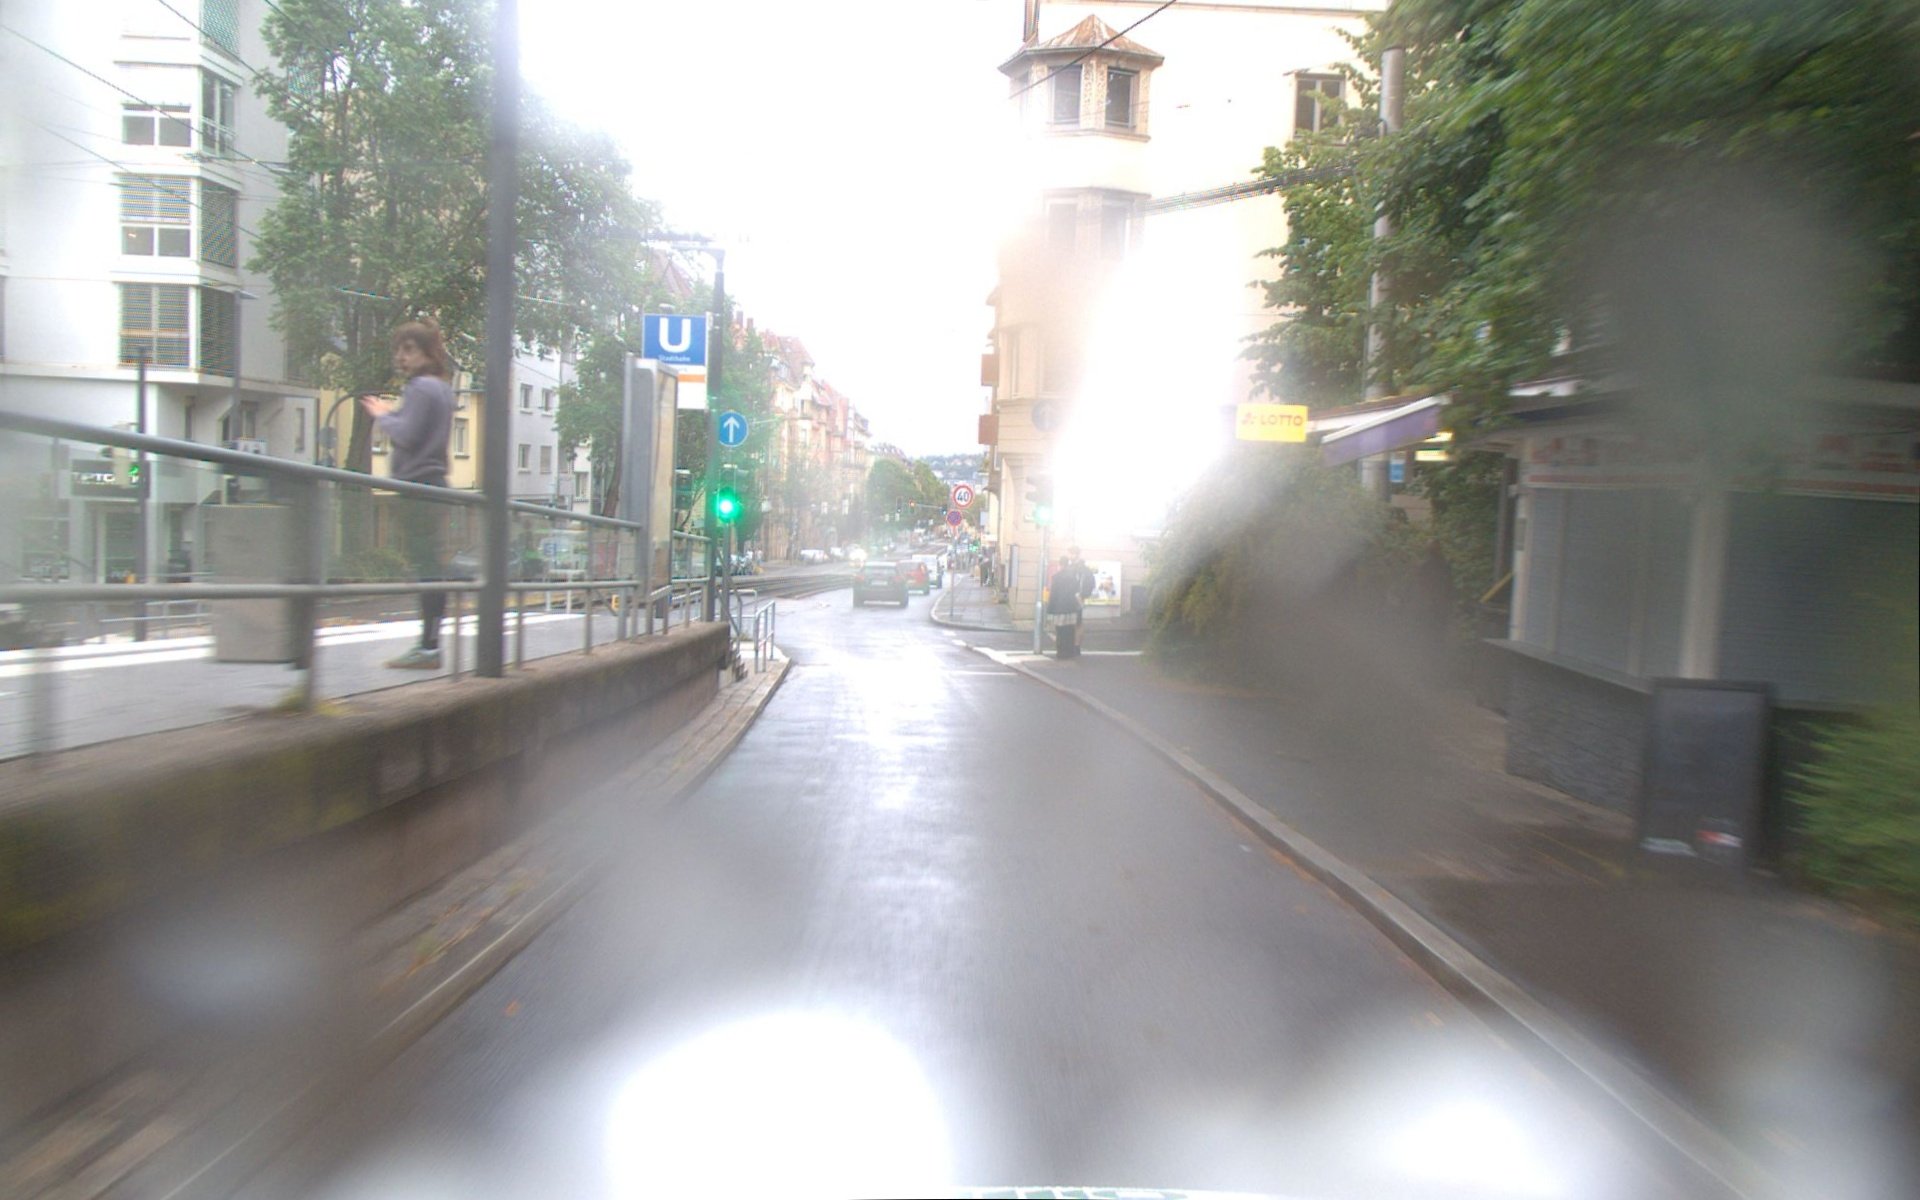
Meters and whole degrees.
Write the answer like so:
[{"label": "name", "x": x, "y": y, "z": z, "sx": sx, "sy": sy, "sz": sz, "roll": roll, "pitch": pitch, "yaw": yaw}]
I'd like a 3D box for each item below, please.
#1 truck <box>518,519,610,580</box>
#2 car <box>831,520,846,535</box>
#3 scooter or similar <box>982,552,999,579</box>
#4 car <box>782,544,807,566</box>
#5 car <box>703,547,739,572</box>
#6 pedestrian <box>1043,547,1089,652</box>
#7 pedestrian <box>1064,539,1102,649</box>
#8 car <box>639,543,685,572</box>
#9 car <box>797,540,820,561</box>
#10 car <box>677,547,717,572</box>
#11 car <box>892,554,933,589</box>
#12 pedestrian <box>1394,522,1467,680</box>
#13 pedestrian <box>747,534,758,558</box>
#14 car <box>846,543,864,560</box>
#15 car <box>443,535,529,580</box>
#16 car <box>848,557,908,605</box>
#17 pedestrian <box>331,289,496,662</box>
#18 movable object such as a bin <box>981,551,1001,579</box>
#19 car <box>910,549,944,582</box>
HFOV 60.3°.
[{"label": "truck", "x": -16.704, "y": -2.108, "z": 70.092, "sx": 2.008, "sy": 2.434, "sz": 6.324, "roll": 1, "pitch": 1, "yaw": 3}, {"label": "car", "x": -18.370, "y": -10.966, "z": 250.323, "sx": 1.953, "sy": 2.048, "sz": 4.000, "roll": 1, "pitch": 2, "yaw": -1}, {"label": "scooter or similar", "x": 1.798, "y": -2.051, "z": 98.237, "sx": 0.900, "sy": 1.632, "sz": 0.862, "roll": 1, "pitch": 1, "yaw": -4}, {"label": "car", "x": -15.770, "y": -4.299, "z": 157.546, "sx": 1.953, "sy": 2.049, "sz": 4.346, "roll": 0, "pitch": 1, "yaw": -1}, {"label": "car", "x": -16.071, "y": -2.729, "z": 111.384, "sx": 1.736, "sy": 1.647, "sz": 4.256, "roll": -1, "pitch": 1, "yaw": 1}, {"label": "pedestrian", "x": 1.782, "y": -0.014, "z": 27.796, "sx": 0.681, "sy": 1.724, "sz": 0.555, "roll": 1, "pitch": 1, "yaw": -2}, {"label": "pedestrian", "x": 2.108, "y": -0.109, "z": 28.428, "sx": 0.542, "sy": 1.844, "sz": 0.650, "roll": 1, "pitch": 1, "yaw": -2}, {"label": "car", "x": -16.430, "y": -2.352, "z": 91.261, "sx": 1.737, "sy": 1.573, "sz": 4.255, "roll": -1, "pitch": 1, "yaw": 0}, {"label": "car", "x": -15.366, "y": -5.014, "z": 167.567, "sx": 1.953, "sy": 2.049, "sz": 4.346, "roll": 0, "pitch": 1, "yaw": -1}, {"label": "car", "x": -16.327, "y": -2.490, "z": 102.699, "sx": 1.736, "sy": 1.514, "sz": 4.256, "roll": -1, "pitch": 1, "yaw": 1}, {"label": "car", "x": -2.207, "y": -1.328, "z": 76.584, "sx": 1.814, "sy": 1.499, "sz": 3.999, "roll": 2, "pitch": 1, "yaw": -2}, {"label": "pedestrian", "x": 5.439, "y": 0.001, "z": 19.127, "sx": 0.590, "sy": 1.775, "sz": 0.614, "roll": 2, "pitch": 1, "yaw": -1}, {"label": "pedestrian", "x": -18.123, "y": -4.690, "z": 144.472, "sx": 0.854, "sy": 2.049, "sz": 0.704, "roll": 0, "pitch": 0, "yaw": -1}, {"label": "car", "x": -12.850, "y": -5.953, "z": 201.858, "sx": 1.953, "sy": 2.048, "sz": 4.346, "roll": 1, "pitch": 2, "yaw": -1}, {"label": "car", "x": -17.119, "y": -1.543, "z": 59.940, "sx": 1.690, "sy": 1.541, "sz": 4.497, "roll": 1, "pitch": 2, "yaw": 1}, {"label": "car", "x": -2.690, "y": -0.667, "z": 55.009, "sx": 1.814, "sy": 1.499, "sz": 4.000, "roll": 1, "pitch": 2, "yaw": -1}, {"label": "pedestrian", "x": -2.823, "y": -0.627, "z": 8.594, "sx": 0.577, "sy": 1.839, "sz": 0.660, "roll": 2, "pitch": 1, "yaw": -1}, {"label": "movable object such as a bin", "x": 1.862, "y": -2.100, "z": 99.745, "sx": 1.144, "sy": 1.684, "sz": 1.308, "roll": 0, "pitch": 2, "yaw": -4}, {"label": "car", "x": -1.931, "y": -2.001, "z": 96.296, "sx": 1.909, "sy": 1.824, "sz": 4.143, "roll": 2, "pitch": 1, "yaw": -2}]
